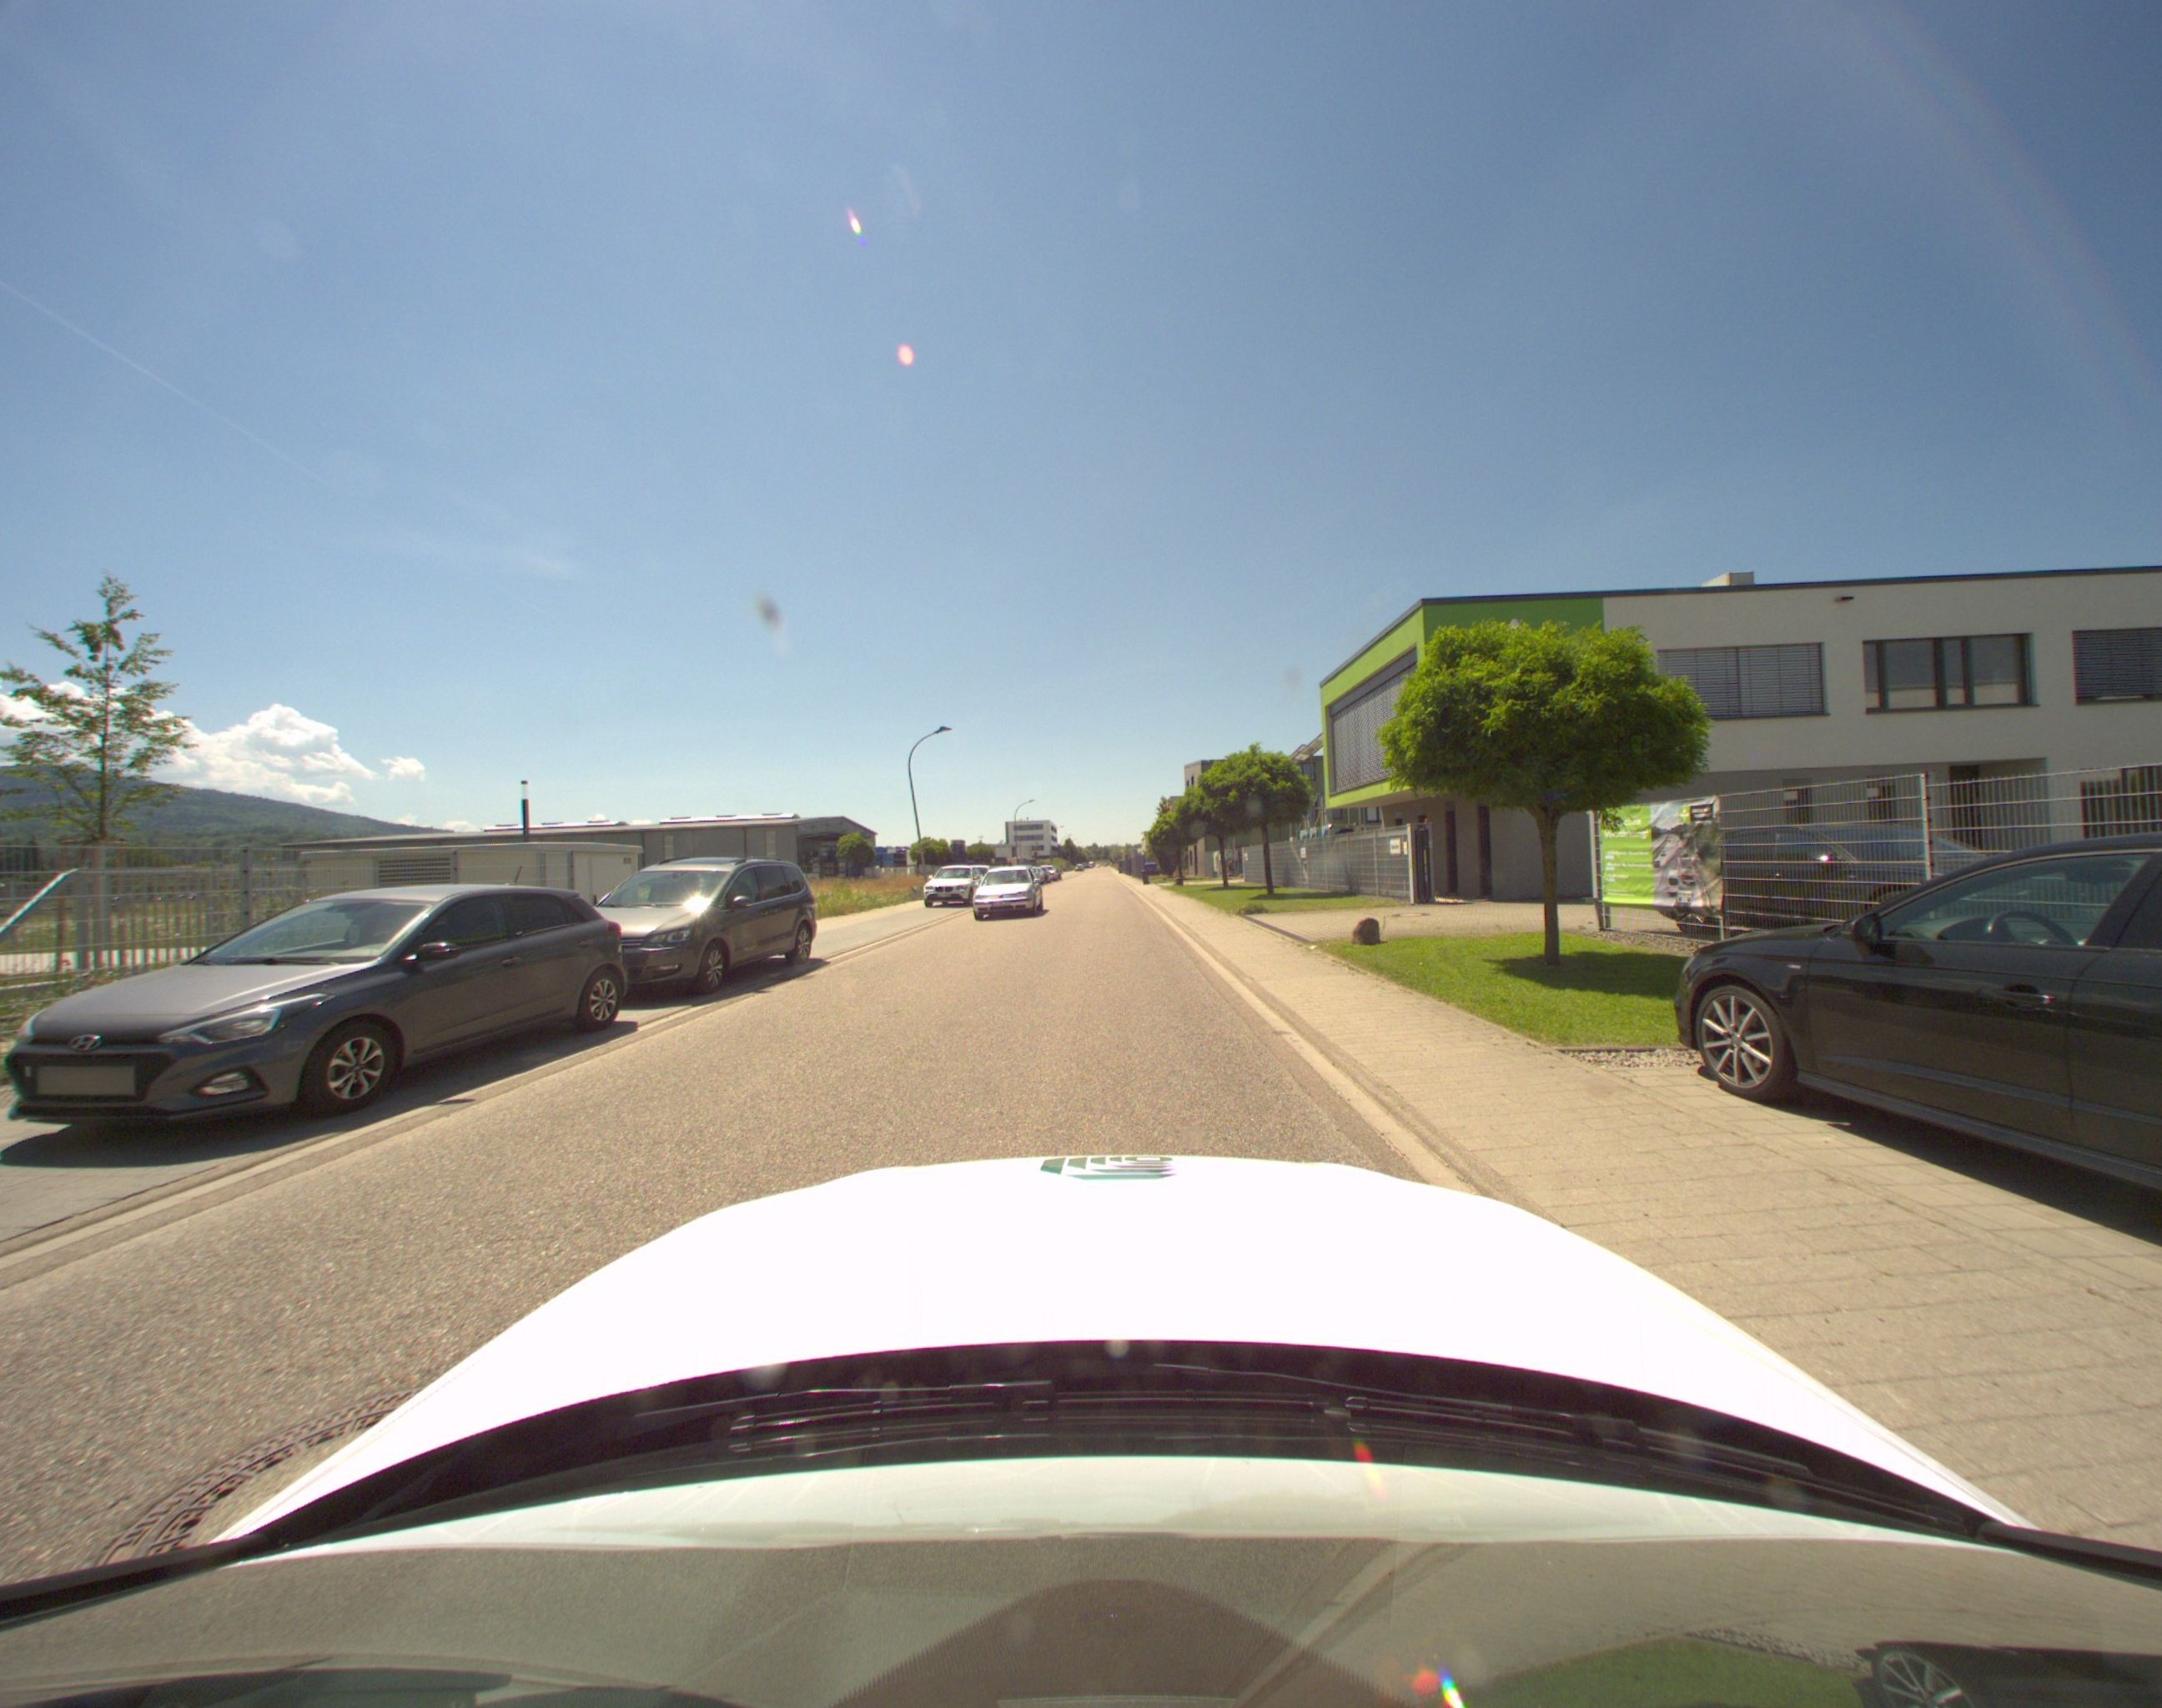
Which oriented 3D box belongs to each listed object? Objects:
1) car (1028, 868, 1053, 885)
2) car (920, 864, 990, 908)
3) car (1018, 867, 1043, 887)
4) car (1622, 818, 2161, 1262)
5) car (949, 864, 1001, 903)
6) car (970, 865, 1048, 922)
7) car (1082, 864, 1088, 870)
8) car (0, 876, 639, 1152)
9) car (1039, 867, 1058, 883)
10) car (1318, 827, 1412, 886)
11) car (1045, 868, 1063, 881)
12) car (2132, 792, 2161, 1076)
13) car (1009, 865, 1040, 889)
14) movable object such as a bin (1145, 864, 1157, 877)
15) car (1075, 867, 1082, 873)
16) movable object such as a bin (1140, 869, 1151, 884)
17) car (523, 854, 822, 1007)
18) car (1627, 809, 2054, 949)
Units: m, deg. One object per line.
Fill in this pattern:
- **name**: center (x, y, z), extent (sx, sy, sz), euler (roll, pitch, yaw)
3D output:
- **car**: center (-3.659, 1.994, 74.267), extent (1.850, 1.481, 4.230), euler (-1, -1, 1)
- **car**: center (-4.837, 1.202, 31.837), extent (1.779, 1.542, 4.368), euler (-1, -1, 3)
- **car**: center (-3.922, 1.777, 63.862), extent (1.688, 1.525, 3.735), euler (-1, -1, 1)
- **car**: center (4.327, 0.587, 3.172), extent (1.686, 1.428, 4.247), euler (-1, -1, 1)
- **car**: center (-4.730, 1.290, 36.757), extent (1.781, 1.656, 3.768), euler (-1, -1, 0)
- **car**: center (-2.046, 1.095, 24.413), extent (1.698, 1.411, 4.785), euler (-4, -1, 1)
- **car**: center (1.150, 3.878, 243.891), extent (1.638, 1.490, 3.208), euler (-2, -1, 2)
- **car**: center (-5.589, 0.973, 6.657), extent (1.628, 1.500, 3.974), euler (-1, -1, 2)
- **car**: center (-3.299, 2.102, 83.194), extent (1.763, 1.592, 4.359), euler (-1, -1, 0)
- **car**: center (13.672, 0.162, 39.794), extent (2.122, 2.494, 7.027), euler (-4, -1, 1)
- **car**: center (-3.069, 2.383, 94.134), extent (1.762, 1.461, 4.334), euler (-1, -1, 2)
- **car**: center (7.007, 0.422, 2.761), extent (1.716, 1.633, 4.023), euler (-1, -1, 1)
- **car**: center (-3.986, 1.630, 57.808), extent (1.784, 1.607, 4.462), euler (-1, -1, 1)
- **movable object such as a bin**: center (8.466, 1.982, 98.885), extent (1.329, 1.459, 0.949), euler (-3, -1, 1)
- **car**: center (-0.508, 3.708, 188.910), extent (1.461, 1.490, 3.208), euler (-2, -1, 2)
- **movable object such as a bin**: center (4.176, 1.465, 52.498), extent (0.549, 0.928, 0.523), euler (-6, -2, 11)
- **car**: center (-5.400, 0.897, 11.592), extent (1.796, 1.719, 4.623), euler (-1, -1, 2)
- **car**: center (9.291, 0.344, 10.542), extent (1.732, 1.398, 4.055), euler (-2, -3, 1)
